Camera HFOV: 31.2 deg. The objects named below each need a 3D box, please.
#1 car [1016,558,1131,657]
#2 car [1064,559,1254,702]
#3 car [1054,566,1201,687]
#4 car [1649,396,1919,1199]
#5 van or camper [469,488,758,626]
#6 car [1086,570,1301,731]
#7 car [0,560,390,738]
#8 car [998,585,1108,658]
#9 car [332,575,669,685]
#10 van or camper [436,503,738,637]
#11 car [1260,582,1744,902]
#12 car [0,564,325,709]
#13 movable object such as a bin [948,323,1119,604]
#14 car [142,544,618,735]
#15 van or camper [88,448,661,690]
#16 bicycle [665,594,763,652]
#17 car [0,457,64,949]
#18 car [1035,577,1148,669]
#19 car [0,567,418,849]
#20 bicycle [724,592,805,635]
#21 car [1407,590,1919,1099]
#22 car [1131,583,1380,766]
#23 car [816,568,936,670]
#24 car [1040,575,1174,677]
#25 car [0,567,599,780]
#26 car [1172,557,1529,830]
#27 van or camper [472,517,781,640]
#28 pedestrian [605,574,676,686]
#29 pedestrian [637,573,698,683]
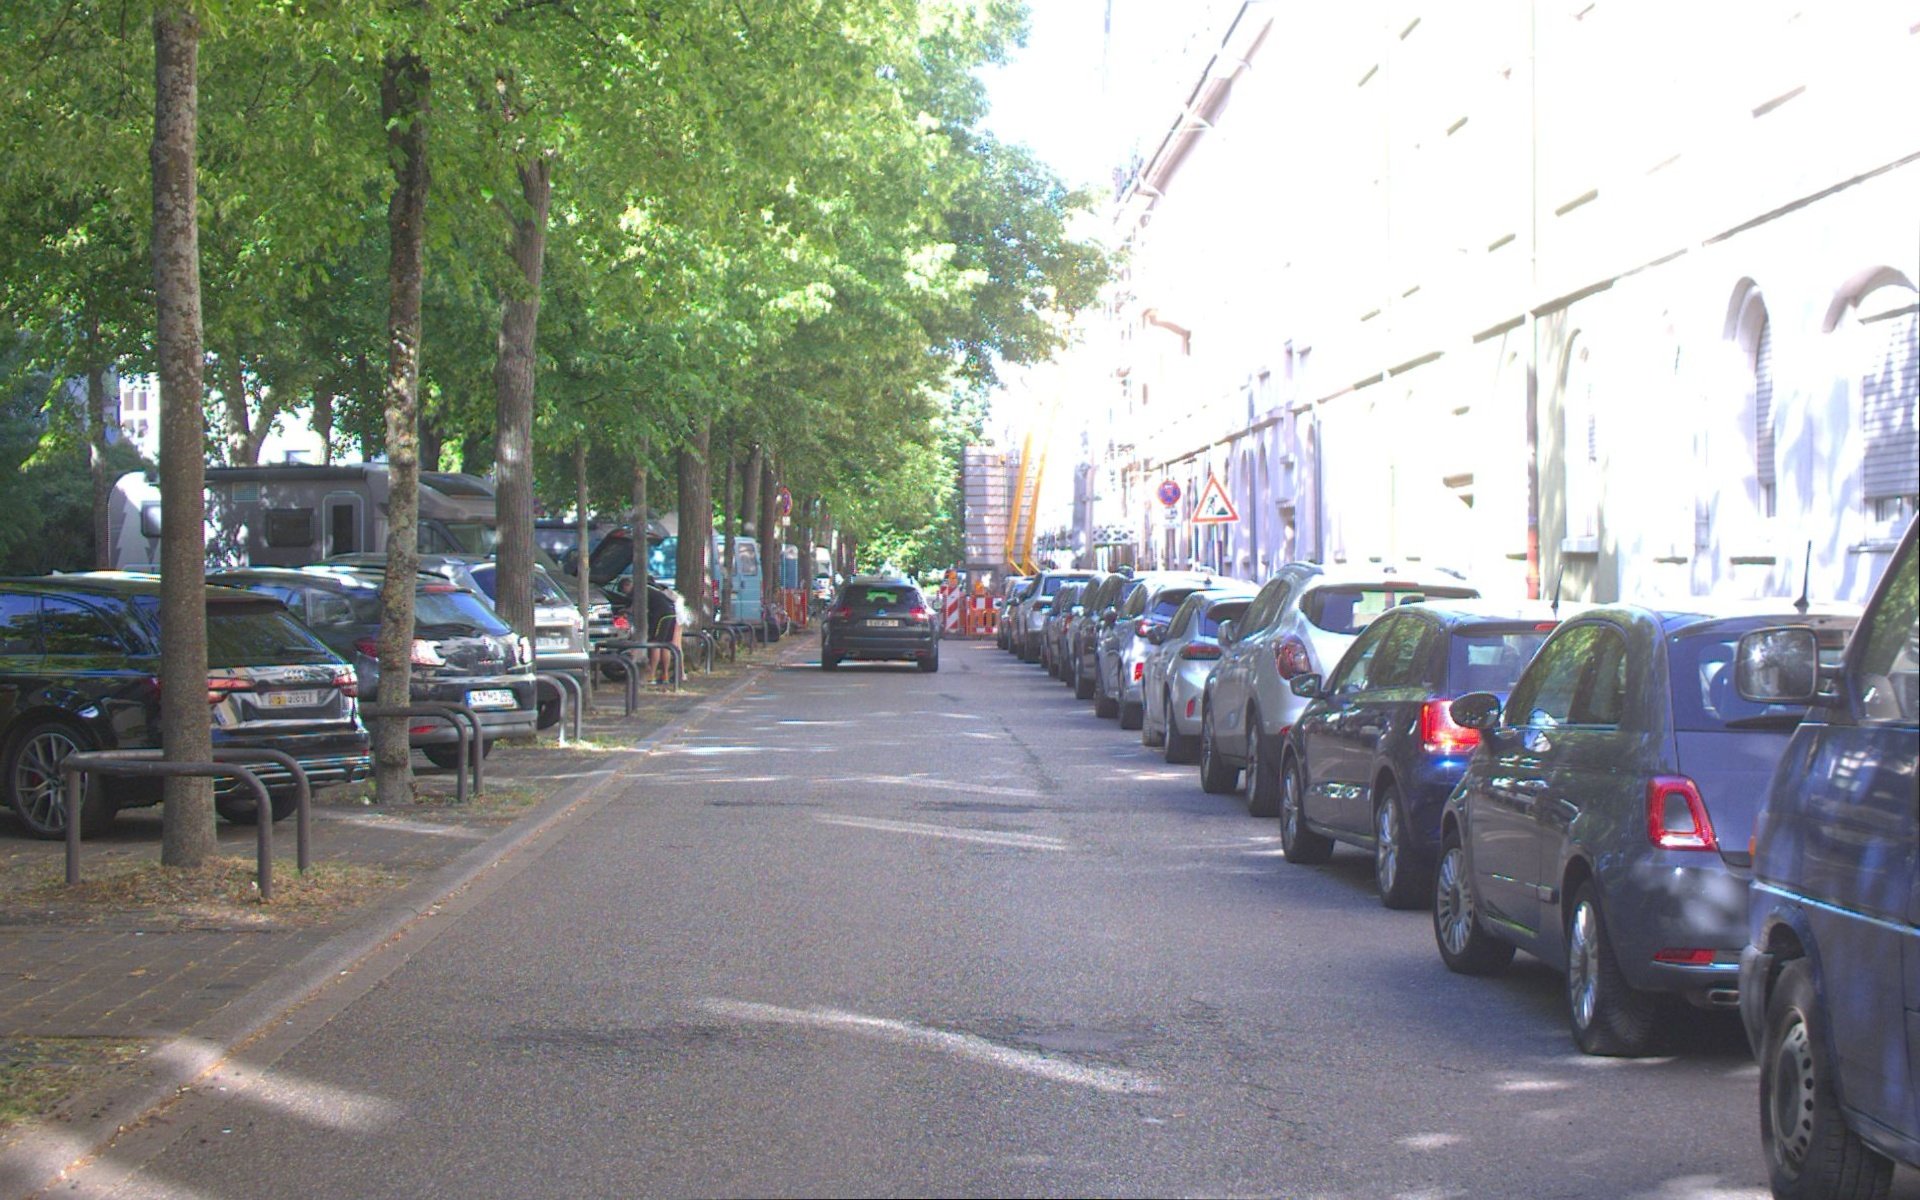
[{"bbox_3d":[1.983,0.105,61.162,1.816,1.668,4.673,-1,1,-1],"label":"car"},{"bbox_3d":[2.306,0.317,40.818,1.722,1.591,4.159,-1,1,-4],"label":"car"},{"bbox_3d":[2.211,0.317,46.056,1.630,1.529,3.593,-1,1,-2],"label":"car"},{"bbox_3d":[2.835,0.544,6.709,1.948,1.894,4.846,-1,1,-1],"label":"car"},{"bbox_3d":[-8.446,-1.028,83.588,6.666,3.230,2.492,-1,1,28],"label":"van or camper"},{"bbox_3d":[2.348,0.472,35.542,1.722,1.523,4.159,-1,1,-3],"label":"car"},{"bbox_3d":[-7.147,0.385,30.113,4.036,1.398,1.821,2,1,32],"label":"car"},{"bbox_3d":[1.871,0.424,70.766,1.993,1.404,4.501,0,1,-2],"label":"car"},{"bbox_3d":[-6.243,0.385,46.662,4.321,1.419,1.673,0,1,26],"label":"car"},{"bbox_3d":[-7.668,-0.605,70.491,5.877,2.628,2.252,-1,1,29],"label":"van or camper"},{"bbox_3d":[2.616,0.629,17.434,1.549,1.389,3.862,-1,1,-5],"label":"car"},{"bbox_3d":[-8.919,0.383,37.811,3.539,1.502,1.754,0,1,33],"label":"car"},{"bbox_3d":[1.805,-3.285,84.420,3.485,6.736,2.364,0,0,32],"label":"movable object such as a bin"},{"bbox_3d":[-5.401,0.337,31.924,4.140,1.673,1.756,0,1,28],"label":"car"},{"bbox_3d":[-7.563,-0.368,44.140,7.236,2.919,2.311,-1,1,26],"label":"van or camper"},{"bbox_3d":[-4.478,0.416,62.595,1.719,1.002,0.511,-1,1,-31],"label":"bicycle"},{"bbox_3d":[-5.959,0.385,13.322,4.515,1.858,2.078,0,1,24],"label":"car"},{"bbox_3d":[2.107,0.344,55.755,1.617,1.408,3.788,-1,1,-1],"label":"car"},{"bbox_3d":[-5.428,0.554,19.704,4.483,1.450,1.784,0,1,31],"label":"car"},{"bbox_3d":[-4.602,0.316,80.912,1.899,1.003,0.430,0,1,23],"label":"bicycle"},{"bbox_3d":[2.734,0.737,12.270,1.621,1.493,3.596,-1,1,-3],"label":"car"},{"bbox_3d":[2.501,0.595,29.953,1.722,1.427,4.158,-1,1,-1],"label":"car"},{"bbox_3d":[-1.335,0.274,53.909,1.797,1.498,3.586,-1,1,-2],"label":"car"},{"bbox_3d":[2.129,0.353,50.756,1.630,1.408,4.089,-1,1,-2],"label":"car"},{"bbox_3d":[-4.947,0.500,25.401,4.417,1.457,1.713,0,0,32],"label":"car"},{"bbox_3d":[2.566,0.553,23.503,1.722,1.680,4.159,-1,1,-3],"label":"car"},{"bbox_3d":[-6.427,-0.409,66.253,5.504,2.267,2.218,-1,1,23],"label":"van or camper"},{"bbox_3d":[-4.207,0.392,45.277,0.710,1.451,0.596,-1,1,22],"label":"pedestrian"},{"bbox_3d":[-3.897,0.372,45.806,0.615,1.451,0.519,-1,1,22],"label":"pedestrian"}]
